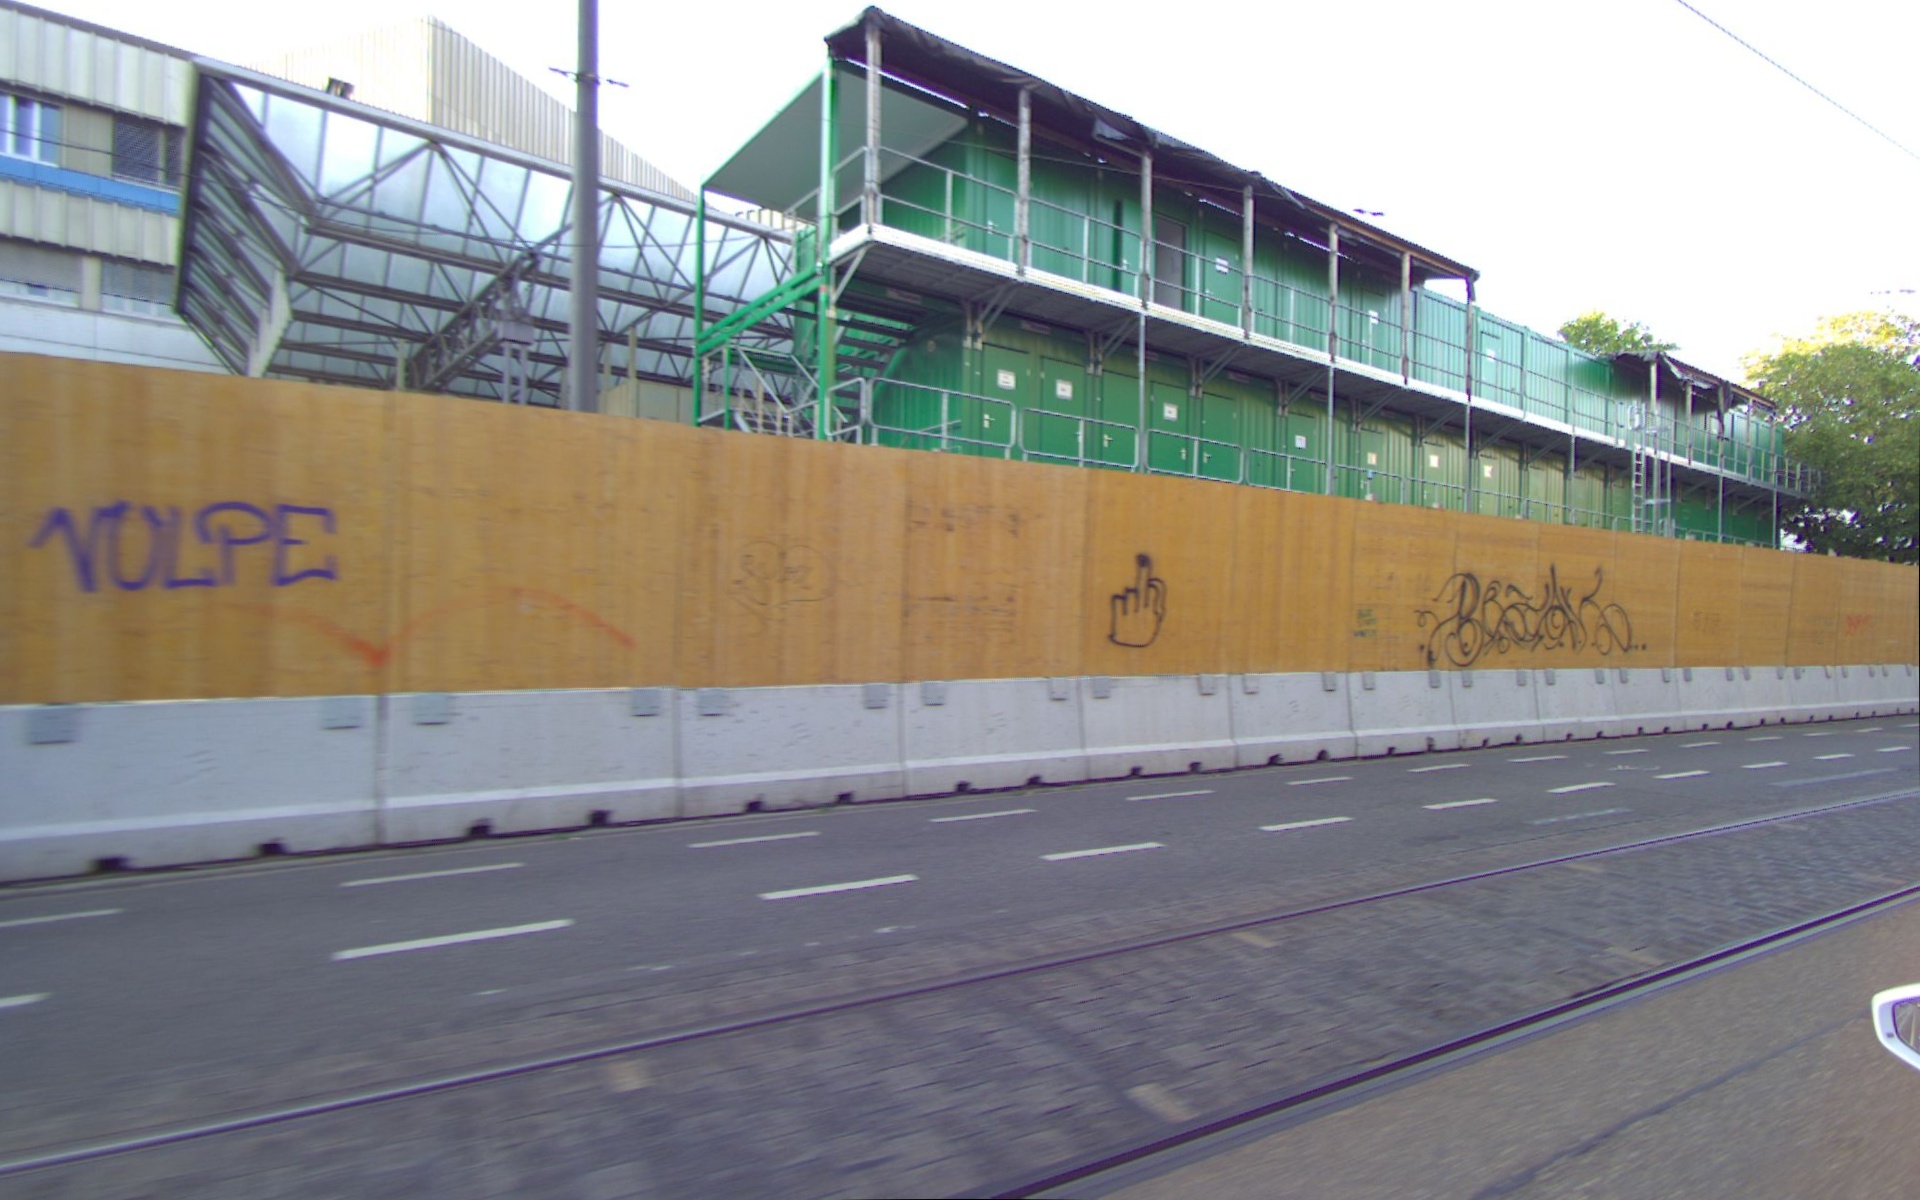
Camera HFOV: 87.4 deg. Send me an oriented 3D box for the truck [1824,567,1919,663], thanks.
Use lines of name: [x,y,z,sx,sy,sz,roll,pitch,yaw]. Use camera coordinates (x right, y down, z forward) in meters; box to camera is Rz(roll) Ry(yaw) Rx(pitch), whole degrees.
truck: [36.949,0.587,37.219,2.514,3.527,7.015,1,1,-33]

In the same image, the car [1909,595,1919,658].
car: [41.919,1.175,40.155,2.202,2.593,5.368,1,1,-32]
